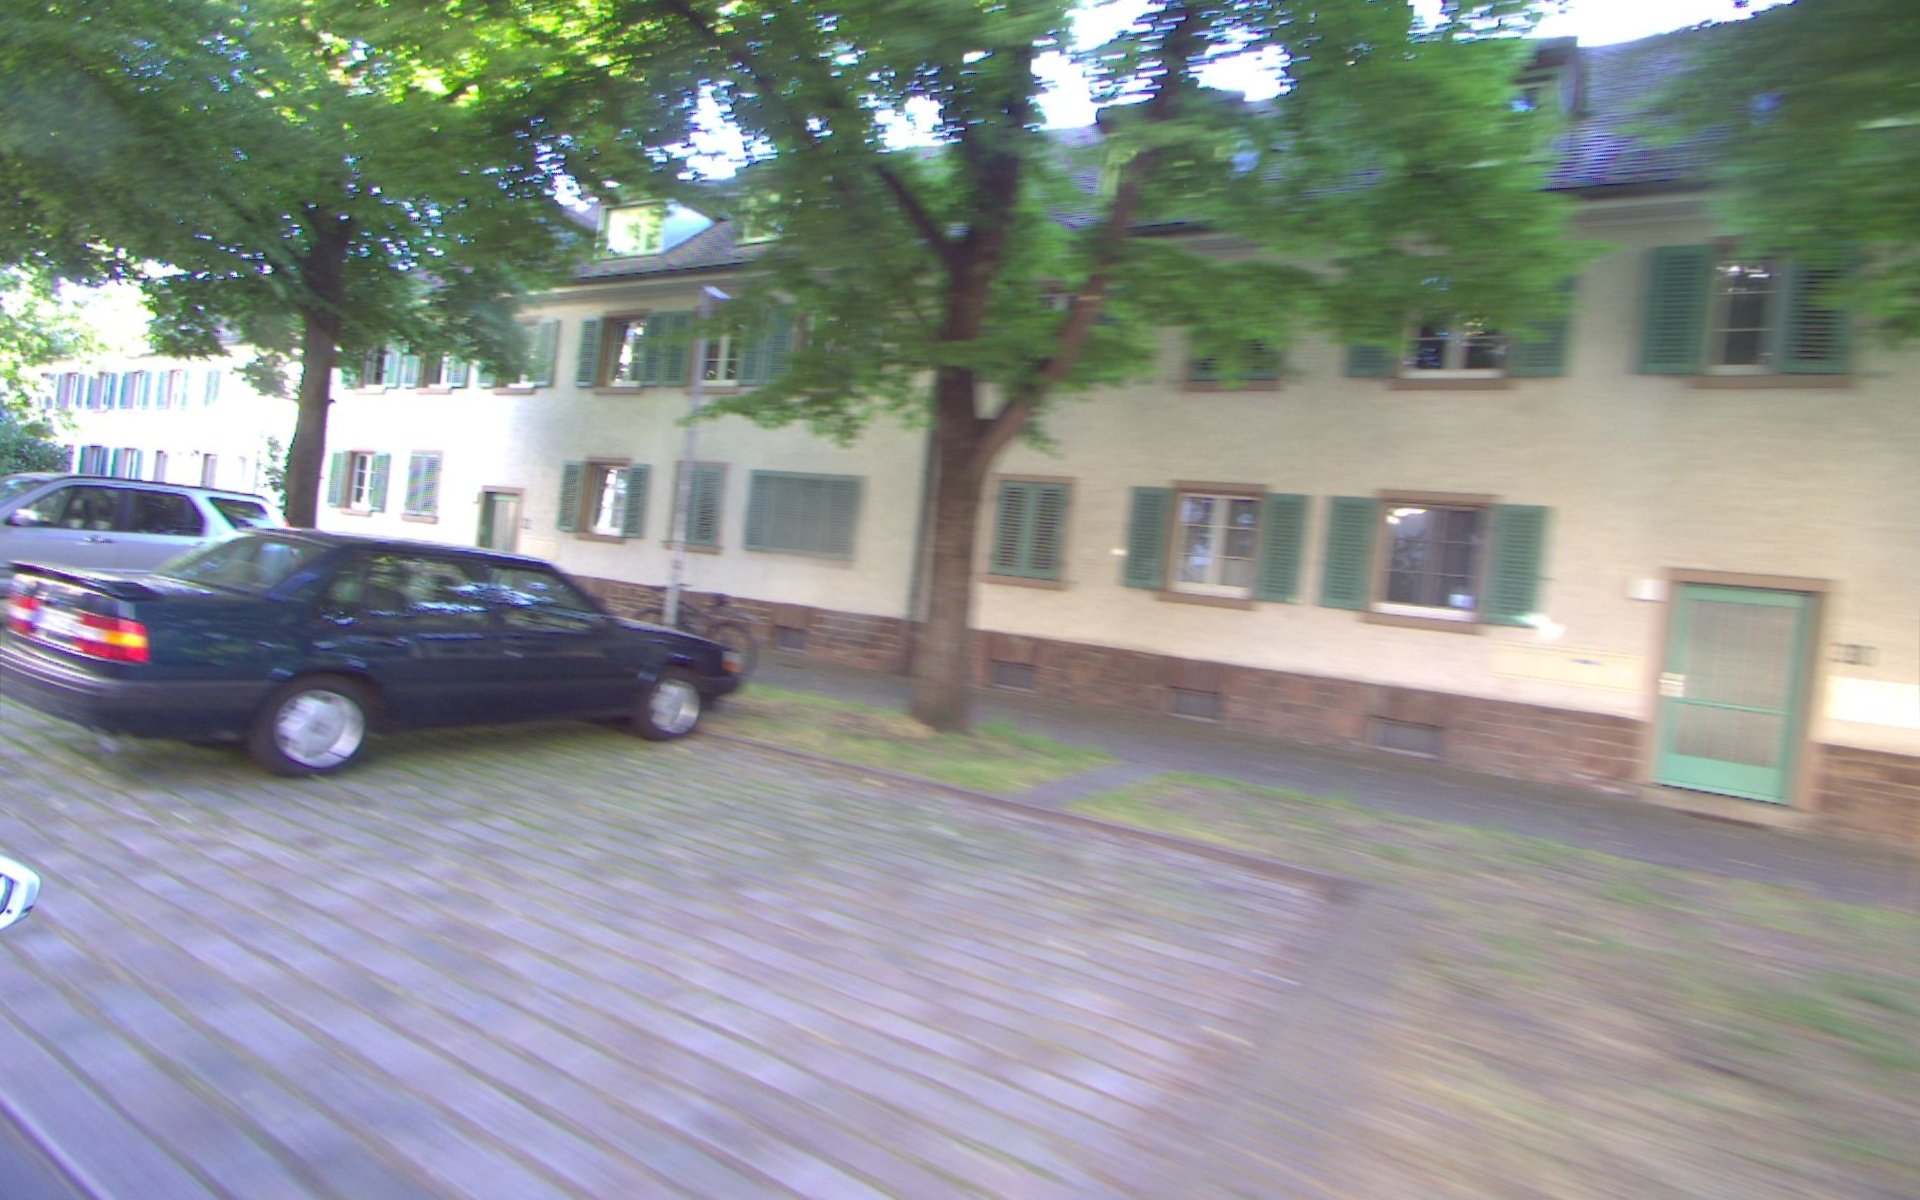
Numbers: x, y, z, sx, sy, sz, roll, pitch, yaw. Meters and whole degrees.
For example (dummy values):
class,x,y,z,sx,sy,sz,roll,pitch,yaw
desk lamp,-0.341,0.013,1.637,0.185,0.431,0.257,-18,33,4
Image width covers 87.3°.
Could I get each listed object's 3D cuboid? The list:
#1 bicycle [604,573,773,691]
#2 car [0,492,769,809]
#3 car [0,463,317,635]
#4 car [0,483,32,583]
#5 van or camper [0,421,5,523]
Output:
class,x,y,z,sx,sy,sz,roll,pitch,yaw
bicycle,-3.349,0.385,12.376,1.899,1.177,0.630,7,0,23
car,-3.757,0.266,7.335,1.909,1.461,4.899,6,1,28
car,-9.974,-0.585,11.046,1.909,1.692,4.479,8,2,28
car,-16.038,-1.171,14.508,1.722,1.491,3.505,5,0,29
van or camper,-20.314,-2.238,16.999,2.229,2.570,5.579,6,1,28
